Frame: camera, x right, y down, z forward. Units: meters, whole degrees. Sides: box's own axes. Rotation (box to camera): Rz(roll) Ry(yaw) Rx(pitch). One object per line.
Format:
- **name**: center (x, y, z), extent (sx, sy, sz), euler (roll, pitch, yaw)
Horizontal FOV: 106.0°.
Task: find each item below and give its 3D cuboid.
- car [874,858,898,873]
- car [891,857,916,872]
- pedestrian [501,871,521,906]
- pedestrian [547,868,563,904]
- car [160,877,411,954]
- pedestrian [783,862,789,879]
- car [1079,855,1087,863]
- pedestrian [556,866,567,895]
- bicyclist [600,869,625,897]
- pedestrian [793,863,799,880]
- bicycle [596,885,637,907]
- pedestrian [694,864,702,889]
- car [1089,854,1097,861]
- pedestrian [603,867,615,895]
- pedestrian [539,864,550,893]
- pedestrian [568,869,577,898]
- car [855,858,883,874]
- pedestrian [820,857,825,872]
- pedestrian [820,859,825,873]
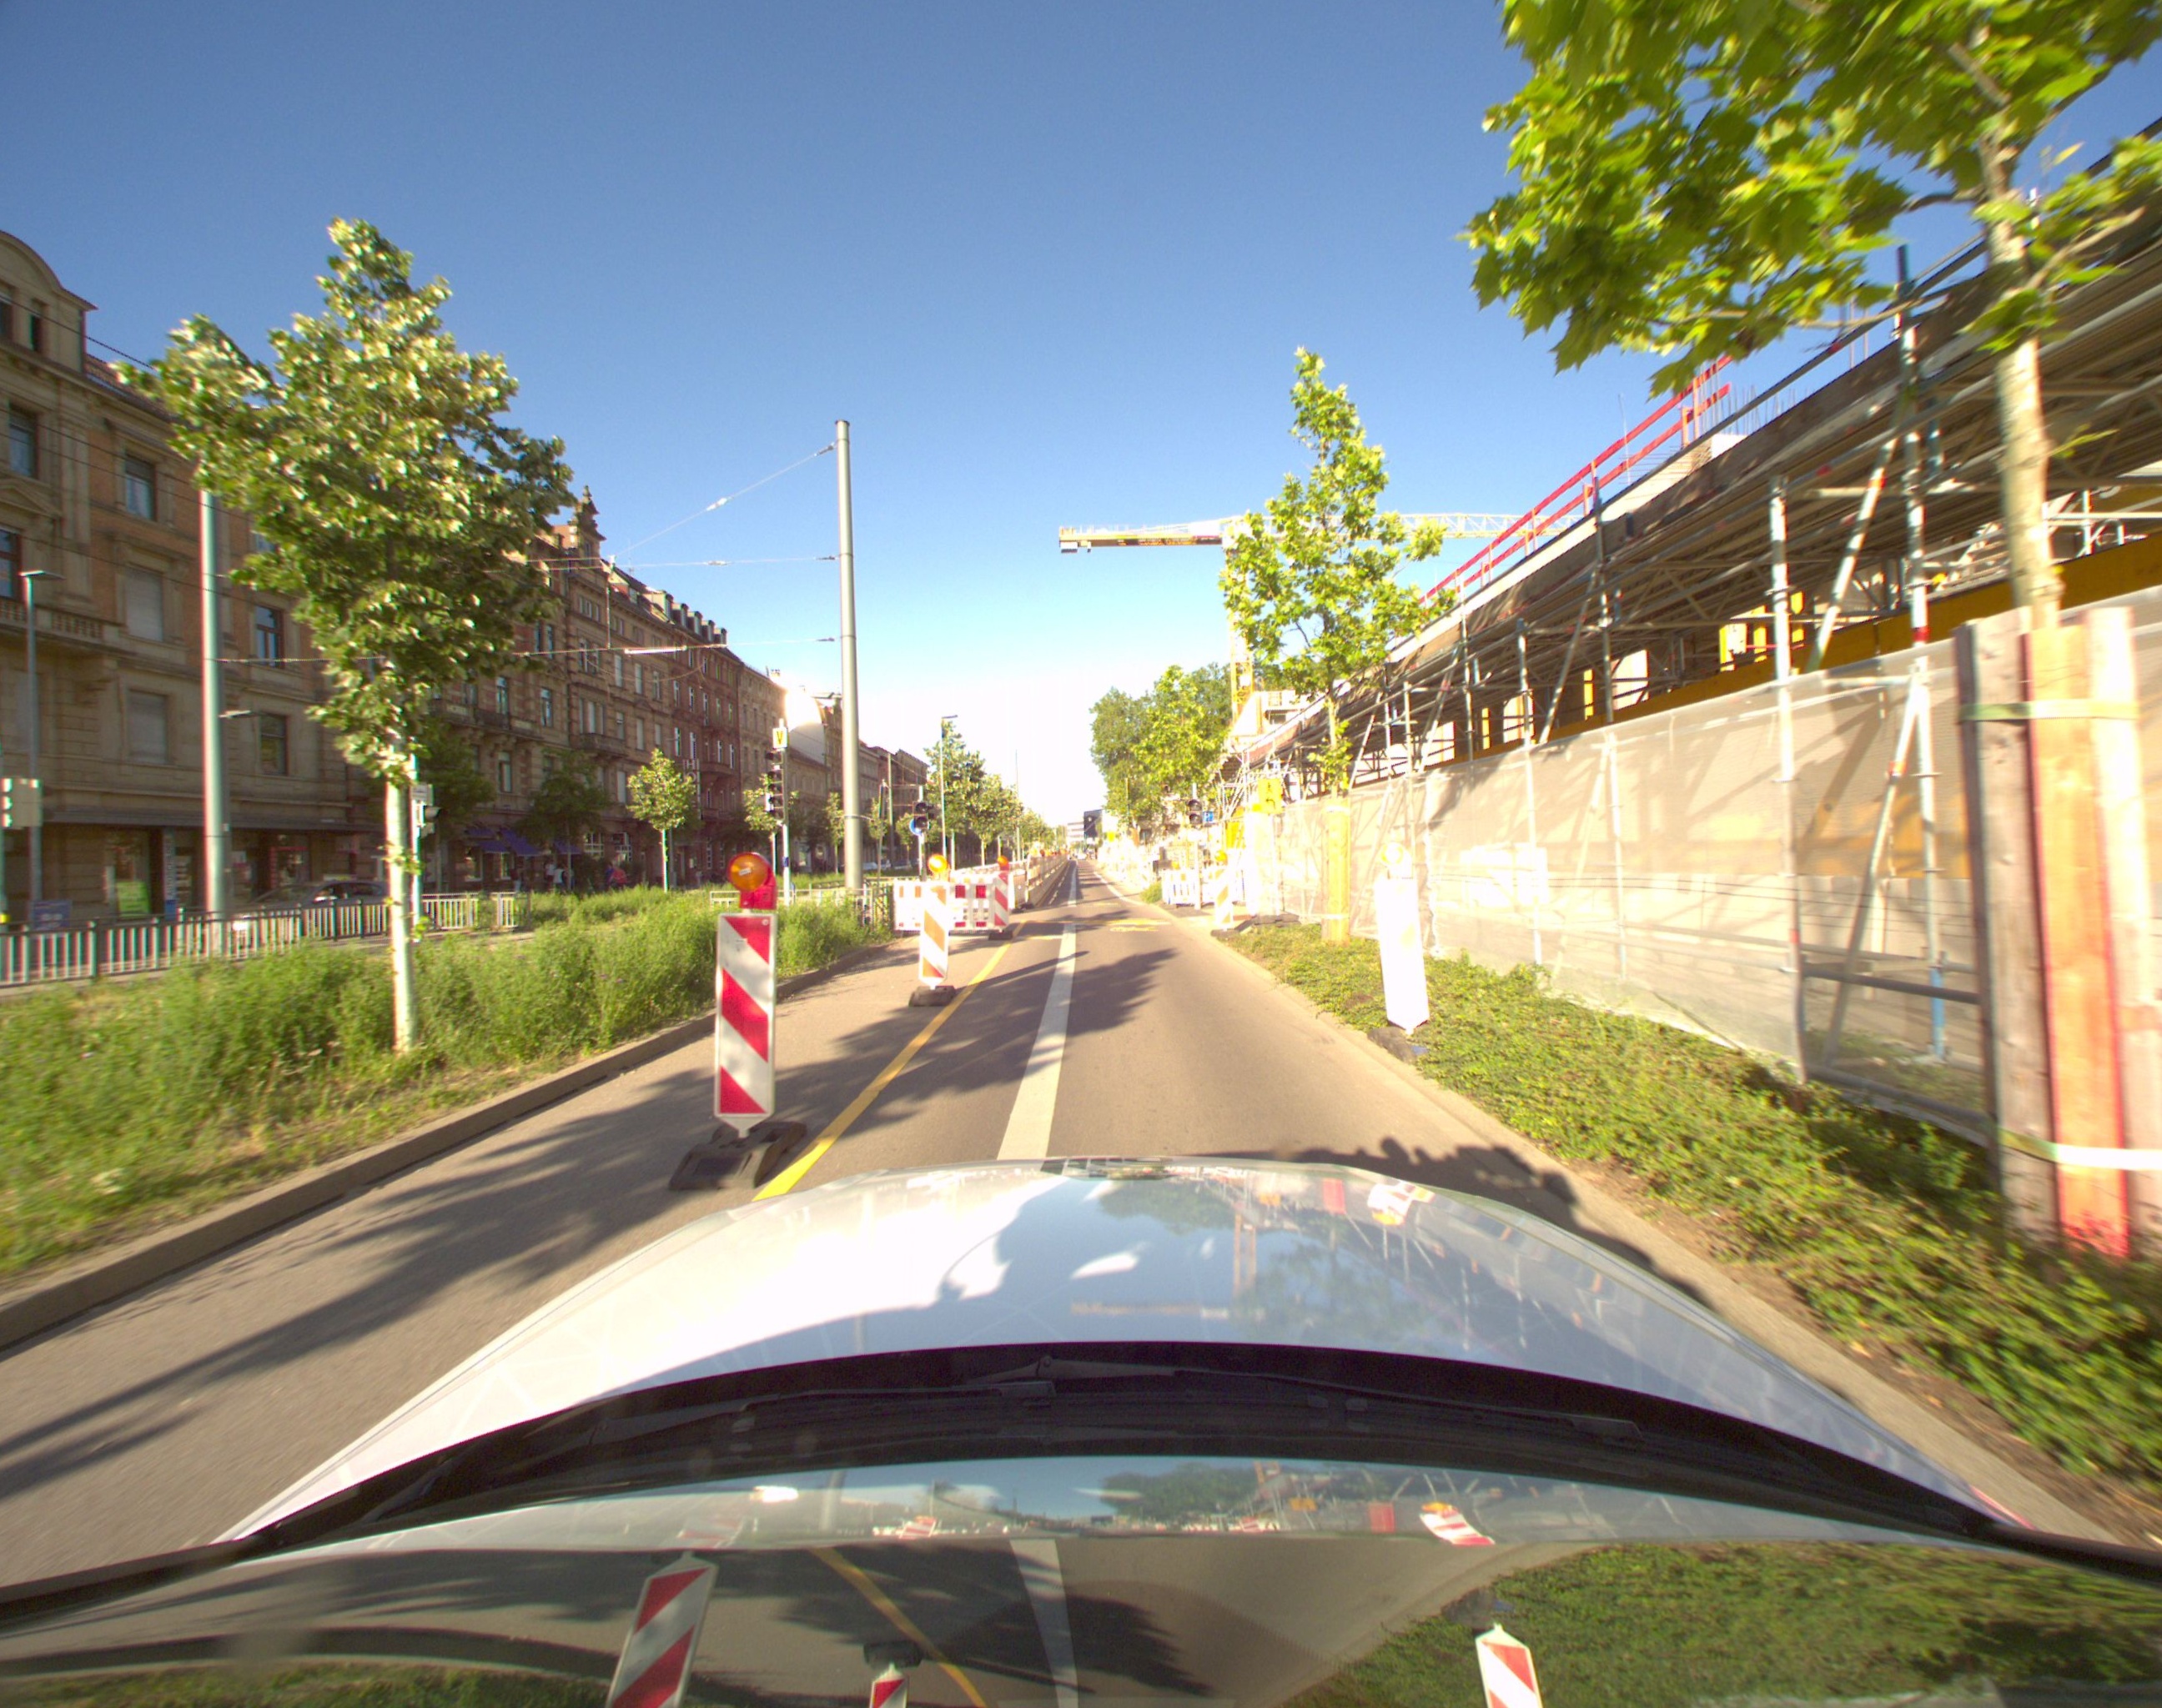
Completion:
- **car**: center (-22.117, 1.237, 92.420), extent (1.562, 1.562, 4.713), euler (-2, 0, -1)
- **car**: center (-17.901, 1.049, 82.203), extent (1.589, 1.483, 3.624), euler (-2, 0, 1)
- **pedestrian**: center (-26.120, 1.572, 37.326), extent (0.485, 1.585, 0.533), euler (0, -1, 0)
- **pedestrian**: center (-26.144, 1.583, 40.492), extent (0.506, 1.765, 0.406), euler (0, -1, -1)
- **car**: center (-18.542, 1.361, 19.301), extent (1.846, 1.420, 4.070), euler (-3, 0, 1)
- **pedestrian**: center (-27.956, 1.540, 77.076), extent (0.432, 1.585, 0.385), euler (0, -1, -3)
- **car**: center (0.552, 1.192, 193.592), extent (1.877, 1.842, 3.667), euler (-2, 0, 0)
- **pedestrian**: center (-28.535, 1.451, 44.757), extent (0.485, 1.585, 0.477), euler (1, -1, -32)
- **bicyclist**: center (-20.794, 1.282, 36.148), extent (0.635, 1.239, 0.738), euler (-2, 0, 1)
- **pedestrian**: center (-26.999, 1.617, 77.120), extent (0.427, 1.585, 0.339), euler (0, -1, 1)
- **bicycle**: center (-20.775, 1.851, 36.480), extent (0.635, 0.857, 2.031), euler (-2, 0, 1)
- **pedestrian**: center (-27.051, 1.565, 57.475), extent (0.365, 1.765, 0.406), euler (0, -1, 0)
- **car**: center (3.270, 0.887, 222.175), extent (1.877, 1.842, 3.667), euler (-2, 0, 0)
- **pedestrian**: center (-27.122, 1.525, 46.792), extent (0.402, 1.585, 0.425), euler (0, -1, -1)
- **pedestrian**: center (-29.368, 1.324, 44.583), extent (0.381, 1.585, 0.393), euler (0, -1, 30)
- **pedestrian**: center (-28.149, 1.626, 45.111), extent (0.370, 1.585, 0.401), euler (1, -1, -40)
- **car**: center (-22.159, 1.238, 85.282), extent (1.561, 1.562, 4.713), euler (-2, 0, 0)
- **pedestrian**: center (-27.024, 1.110, 85.186), extent (0.404, 1.534, 0.435), euler (0, -1, 0)
- **pedestrian**: center (-27.043, 1.262, 85.172), extent (0.404, 1.532, 0.435), euler (0, -1, 0)
